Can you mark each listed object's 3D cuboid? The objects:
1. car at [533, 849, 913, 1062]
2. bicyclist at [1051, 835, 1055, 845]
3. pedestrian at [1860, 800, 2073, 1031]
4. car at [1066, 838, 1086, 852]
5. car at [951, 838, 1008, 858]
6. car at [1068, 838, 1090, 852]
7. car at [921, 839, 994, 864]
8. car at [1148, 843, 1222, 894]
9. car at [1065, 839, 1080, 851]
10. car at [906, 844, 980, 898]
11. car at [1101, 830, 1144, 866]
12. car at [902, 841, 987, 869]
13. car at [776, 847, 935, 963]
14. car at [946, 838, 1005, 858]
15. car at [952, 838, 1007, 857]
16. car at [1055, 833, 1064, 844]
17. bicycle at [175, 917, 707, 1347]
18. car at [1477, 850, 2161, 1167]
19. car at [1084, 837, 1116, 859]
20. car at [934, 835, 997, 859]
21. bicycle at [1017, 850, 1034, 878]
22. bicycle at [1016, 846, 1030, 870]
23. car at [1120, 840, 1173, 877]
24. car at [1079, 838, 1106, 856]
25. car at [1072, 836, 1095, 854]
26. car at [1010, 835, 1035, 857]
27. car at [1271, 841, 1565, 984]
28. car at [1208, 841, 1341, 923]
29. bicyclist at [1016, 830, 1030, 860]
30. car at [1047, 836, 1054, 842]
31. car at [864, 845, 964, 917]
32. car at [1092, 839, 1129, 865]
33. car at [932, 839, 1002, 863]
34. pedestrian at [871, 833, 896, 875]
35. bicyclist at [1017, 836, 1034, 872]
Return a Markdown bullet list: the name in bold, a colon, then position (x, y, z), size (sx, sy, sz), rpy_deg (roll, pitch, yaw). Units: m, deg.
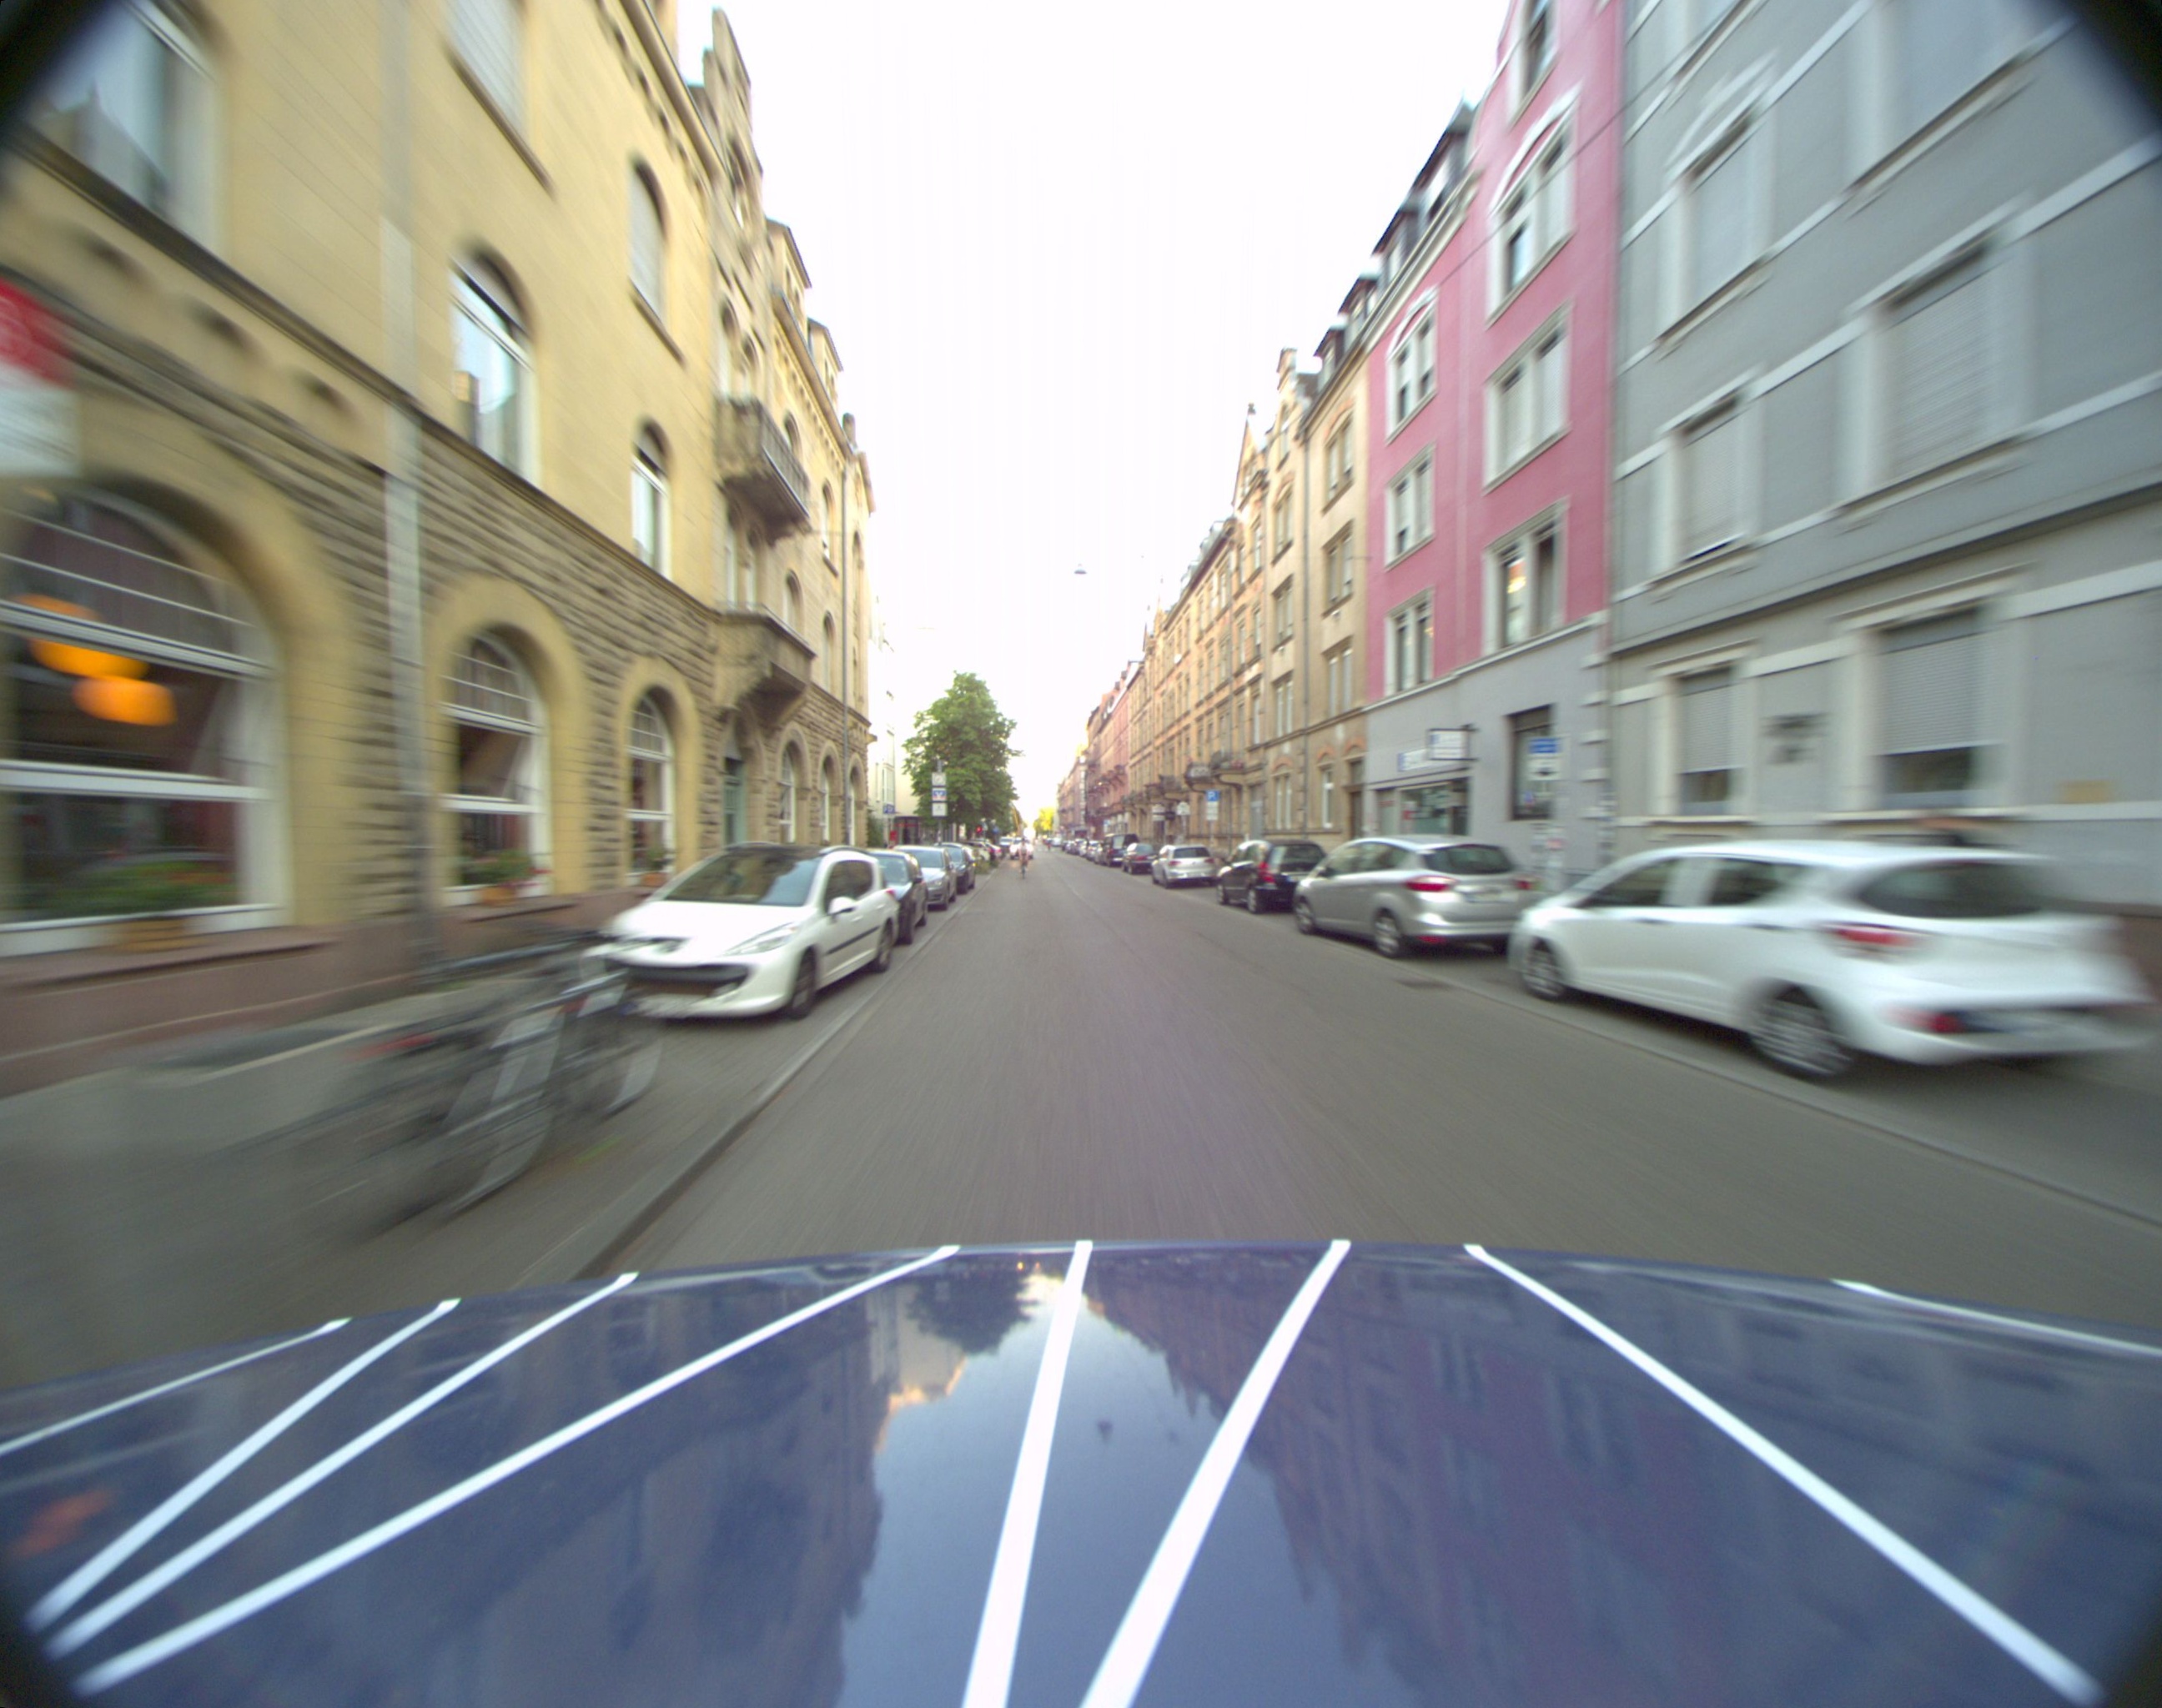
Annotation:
- **car**: position (-3.192, 0.749, 7.942), size (1.768, 1.476, 4.462), rpy_deg (3, 1, 0)
- **bicyclist**: position (-4.329, -2.184, 116.786), size (0.686, 1.504, 1.035), rpy_deg (0, 2, -3)
- **pedestrian**: position (7.837, 0.514, 6.778), size (0.851, 1.938, 0.833), rpy_deg (0, 2, 0)
- **car**: position (-0.584, -1.095, 88.973), size (1.758, 1.426, 4.054), rpy_deg (-5, 2, -6)
- **car**: position (-7.938, -0.496, 59.643), size (4.303, 1.520, 1.822), rpy_deg (0, 1, -4)
- **car**: position (-0.246, -1.000, 83.357), size (1.758, 1.426, 4.054), rpy_deg (-5, 2, -6)
- **car**: position (-7.538, -0.171, 46.790), size (4.303, 1.520, 1.822), rpy_deg (0, 1, -4)
- **car**: position (3.574, 0.430, 26.771), size (1.758, 1.467, 4.055), rpy_deg (-5, 2, -3)
- **car**: position (-1.150, -1.238, 102.689), size (1.758, 1.426, 4.055), rpy_deg (-5, 2, -4)
- **car**: position (-4.329, 0.470, 24.441), size (1.768, 1.476, 4.554), rpy_deg (1, 1, -3)
- **car**: position (2.400, -0.396, 45.341), size (1.875, 1.949, 4.289), rpy_deg (-3, 1, -5)
- **car**: position (-7.243, 0.028, 40.602), size (4.303, 1.443, 1.822), rpy_deg (0, 1, -4)
- **car**: position (-3.548, 0.691, 12.777), size (1.769, 1.476, 4.553), rpy_deg (3, 1, -7)
- **car**: position (-7.895, -0.466, 57.332), size (4.303, 1.528, 1.822), rpy_deg (0, 1, -4)
- **car**: position (-8.241, -0.563, 62.097), size (4.303, 1.520, 1.822), rpy_deg (0, 1, -4)
- **car**: position (-4.568, -3.275, 160.716), size (1.758, 2.264, 4.055), rpy_deg (-5, 2, -3)
- **bicycle**: position (-2.552, 0.979, 3.469), size (0.686, 1.145, 2.114), rpy_deg (3, 1, -3)
- **car**: position (5.145, 0.815, 6.045), size (1.758, 1.567, 3.925), rpy_deg (-2, 1, -3)
- **car**: position (1.432, -0.503, 57.945), size (1.758, 1.467, 4.054), rpy_deg (-5, 2, -6)
- **car**: position (-8.233, -0.516, 54.484), size (4.303, 1.667, 1.822), rpy_deg (0, 2, -4)
- **bicycle**: position (-2.359, 0.412, 32.295), size (0.686, 1.145, 2.114), rpy_deg (0, 1, -3)
- **bicycle**: position (-2.927, 0.193, 38.704), size (0.686, 1.145, 2.114), rpy_deg (0, 1, -3)
- **car**: position (3.012, 0.159, 35.819), size (1.758, 1.467, 4.277), rpy_deg (-5, 2, -4)
- **car**: position (0.999, -0.618, 67.092), size (1.758, 1.426, 4.054), rpy_deg (-5, 2, -6)
- **car**: position (0.247, -0.895, 77.369), size (1.758, 1.663, 4.054), rpy_deg (-5, 2, -6)
- **car**: position (-4.911, -0.725, 63.808), size (1.958, 1.729, 4.282), rpy_deg (-2, 1, -4)
- **car**: position (4.533, 0.631, 11.171), size (1.838, 1.584, 4.669), rpy_deg (-2, 1, -6)
- **car**: position (4.259, 0.533, 17.380), size (1.758, 1.584, 4.055), rpy_deg (-2, 1, -4)
- **bicyclist**: position (-2.921, -0.456, 38.621), size (0.686, 1.504, 0.972), rpy_deg (0, 2, -3)
- **car**: position (-8.037, -3.850, 198.555), size (1.758, 1.426, 4.055), rpy_deg (-5, 2, -3)
- **car**: position (-3.956, 0.565, 18.728), size (1.769, 1.476, 4.554), rpy_deg (2, 1, -5)
- **car**: position (1.906, -0.168, 50.483), size (1.758, 1.467, 4.054), rpy_deg (-5, 2, -6)
- **car**: position (-7.327, -0.211, 49.204), size (4.303, 1.520, 1.822), rpy_deg (0, 1, -4)
- **pedestrian**: position (-8.533, -0.016, 32.860), size (0.851, 1.757, 0.833), rpy_deg (1, 2, 0)
- **bicyclist**: position (-2.359, -0.026, 32.268), size (0.686, 1.504, 0.972), rpy_deg (0, 2, -3)
